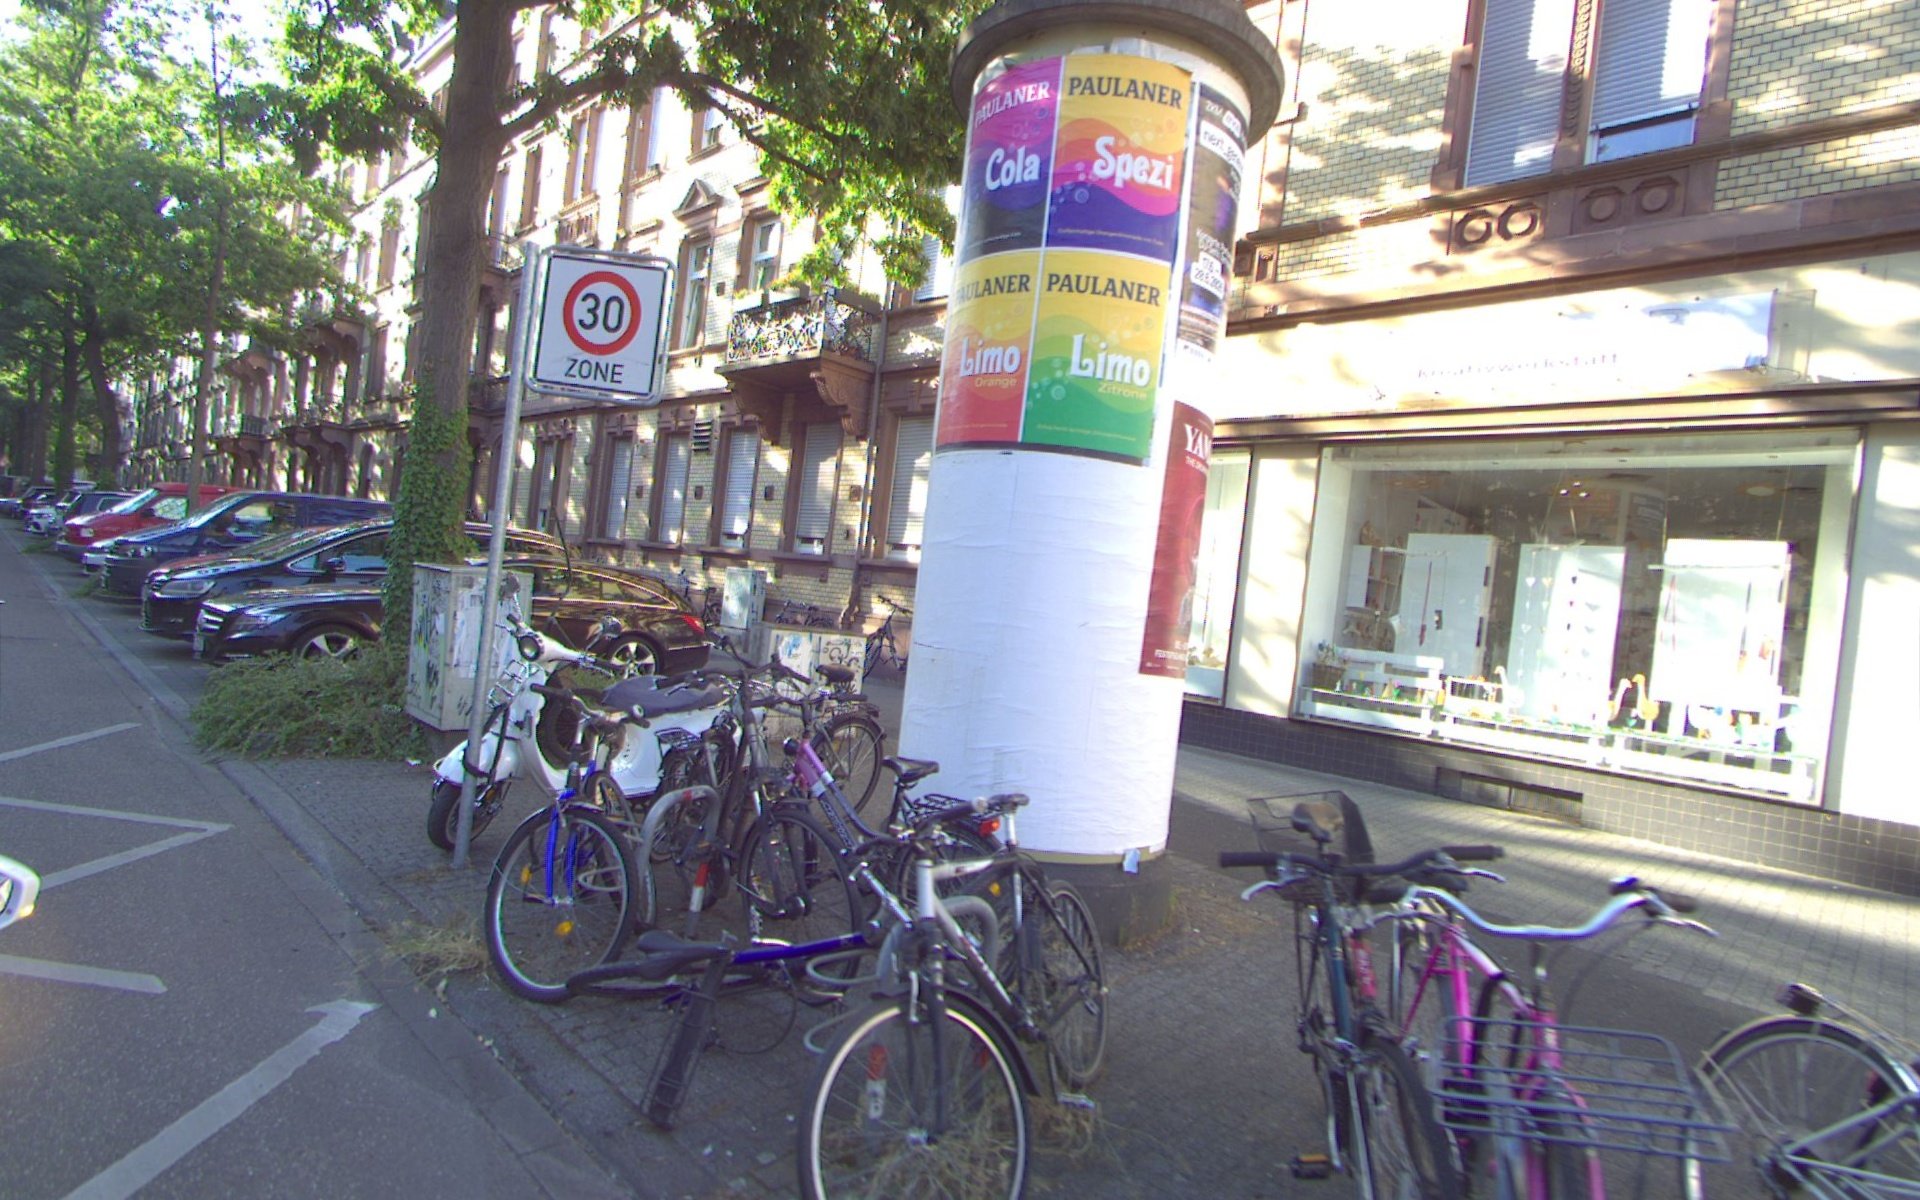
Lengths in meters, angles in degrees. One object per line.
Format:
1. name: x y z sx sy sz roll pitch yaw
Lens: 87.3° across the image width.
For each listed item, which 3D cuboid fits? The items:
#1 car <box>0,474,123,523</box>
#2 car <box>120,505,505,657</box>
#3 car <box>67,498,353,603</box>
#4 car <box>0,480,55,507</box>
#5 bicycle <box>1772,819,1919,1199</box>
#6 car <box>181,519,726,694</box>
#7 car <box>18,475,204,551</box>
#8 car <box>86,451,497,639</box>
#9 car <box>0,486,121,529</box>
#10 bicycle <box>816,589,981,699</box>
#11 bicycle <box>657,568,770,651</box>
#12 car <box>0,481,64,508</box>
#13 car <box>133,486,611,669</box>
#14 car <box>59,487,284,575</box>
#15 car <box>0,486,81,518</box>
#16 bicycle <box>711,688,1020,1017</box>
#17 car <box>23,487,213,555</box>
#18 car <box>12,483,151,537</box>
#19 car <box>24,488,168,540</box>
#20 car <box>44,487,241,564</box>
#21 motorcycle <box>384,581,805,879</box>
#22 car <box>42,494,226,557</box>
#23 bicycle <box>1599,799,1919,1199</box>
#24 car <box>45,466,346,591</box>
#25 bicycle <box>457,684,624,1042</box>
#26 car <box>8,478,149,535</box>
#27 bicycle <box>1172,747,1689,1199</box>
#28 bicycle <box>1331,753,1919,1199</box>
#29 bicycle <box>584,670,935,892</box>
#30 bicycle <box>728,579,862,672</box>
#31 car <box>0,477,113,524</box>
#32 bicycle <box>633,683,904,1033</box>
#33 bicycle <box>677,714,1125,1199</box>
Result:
1. car: -46.715 -5.237 52.013 1.811 1.951 5.041 8 2 44
2. car: -8.724 -0.200 13.799 1.702 1.553 4.095 7 0 45
3. car: -14.038 -0.893 18.976 1.854 1.530 4.041 7 2 44
4. car: -69.630 -7.918 74.276 1.691 1.594 3.846 7 2 36
5. bicycle: 2.426 1.182 1.812 0.417 1.108 1.935 4 1 6
6. car: -5.086 0.156 10.610 4.767 1.431 1.829 5 1 -43
7. car: -27.789 -2.816 33.046 1.824 1.951 4.431 9 4 41
8. car: -10.421 -0.740 16.031 1.966 2.242 5.011 7 0 43
9. car: -40.588 -4.172 45.132 1.808 1.422 4.213 7 2 39
10. bicycle: -0.889 0.548 13.501 0.667 1.187 2.561 3 2 -43
11. bicycle: -4.289 0.137 17.313 0.667 1.187 2.561 3 2 -43
12. car: -70.840 -8.030 76.436 1.691 1.594 3.846 7 2 36
13. car: -6.906 -0.174 12.134 4.665 1.701 1.830 5 1 -41
14. car: -19.218 -1.649 24.614 4.169 1.649 1.815 4 2 -43
15. car: -49.341 -5.222 53.383 1.694 1.311 3.841 7 2 41
16. bicycle: -0.458 0.932 4.132 0.352 0.940 1.506 2 3 -44
17. car: -26.061 -2.423 31.232 1.825 1.578 4.330 9 4 43
18. car: -34.770 -3.556 39.895 1.711 1.628 3.998 7 2 44
19. car: -32.883 -3.265 38.342 1.711 1.487 3.998 7 2 44
20. car: -22.629 -2.034 27.954 1.781 1.649 3.999 7 2 43
21. motorcycle: -1.820 0.607 5.246 0.677 1.250 1.891 7 3 44
22. car: -24.306 -2.166 29.699 1.771 1.453 3.997 7 2 44
23. bicycle: 1.978 1.139 1.866 0.417 1.108 1.935 4 1 6
24. car: -15.803 -1.416 21.005 1.853 2.060 4.664 7 2 41
25. bicycle: -1.524 0.877 3.800 0.349 0.940 1.408 4 2 -15
26. car: -36.699 -3.877 41.945 1.810 1.800 4.209 8 2 43
27. bicycle: 0.879 1.058 2.437 0.493 1.066 1.936 5 1 8
28. bicycle: 1.348 1.079 2.330 0.417 1.108 1.936 5 1 8
29. bicycle: -0.967 0.871 5.331 0.350 0.940 1.924 6 2 43
30. bicycle: -2.583 0.358 15.457 0.667 1.187 2.561 3 2 -43
31. car: -44.409 -4.849 49.125 1.802 1.818 4.227 7 2 25
32. bicycle: -0.818 0.891 3.938 0.351 0.940 1.509 2 2 -37
33. bicycle: -0.006 0.957 3.004 0.487 1.001 1.934 5 2 22
